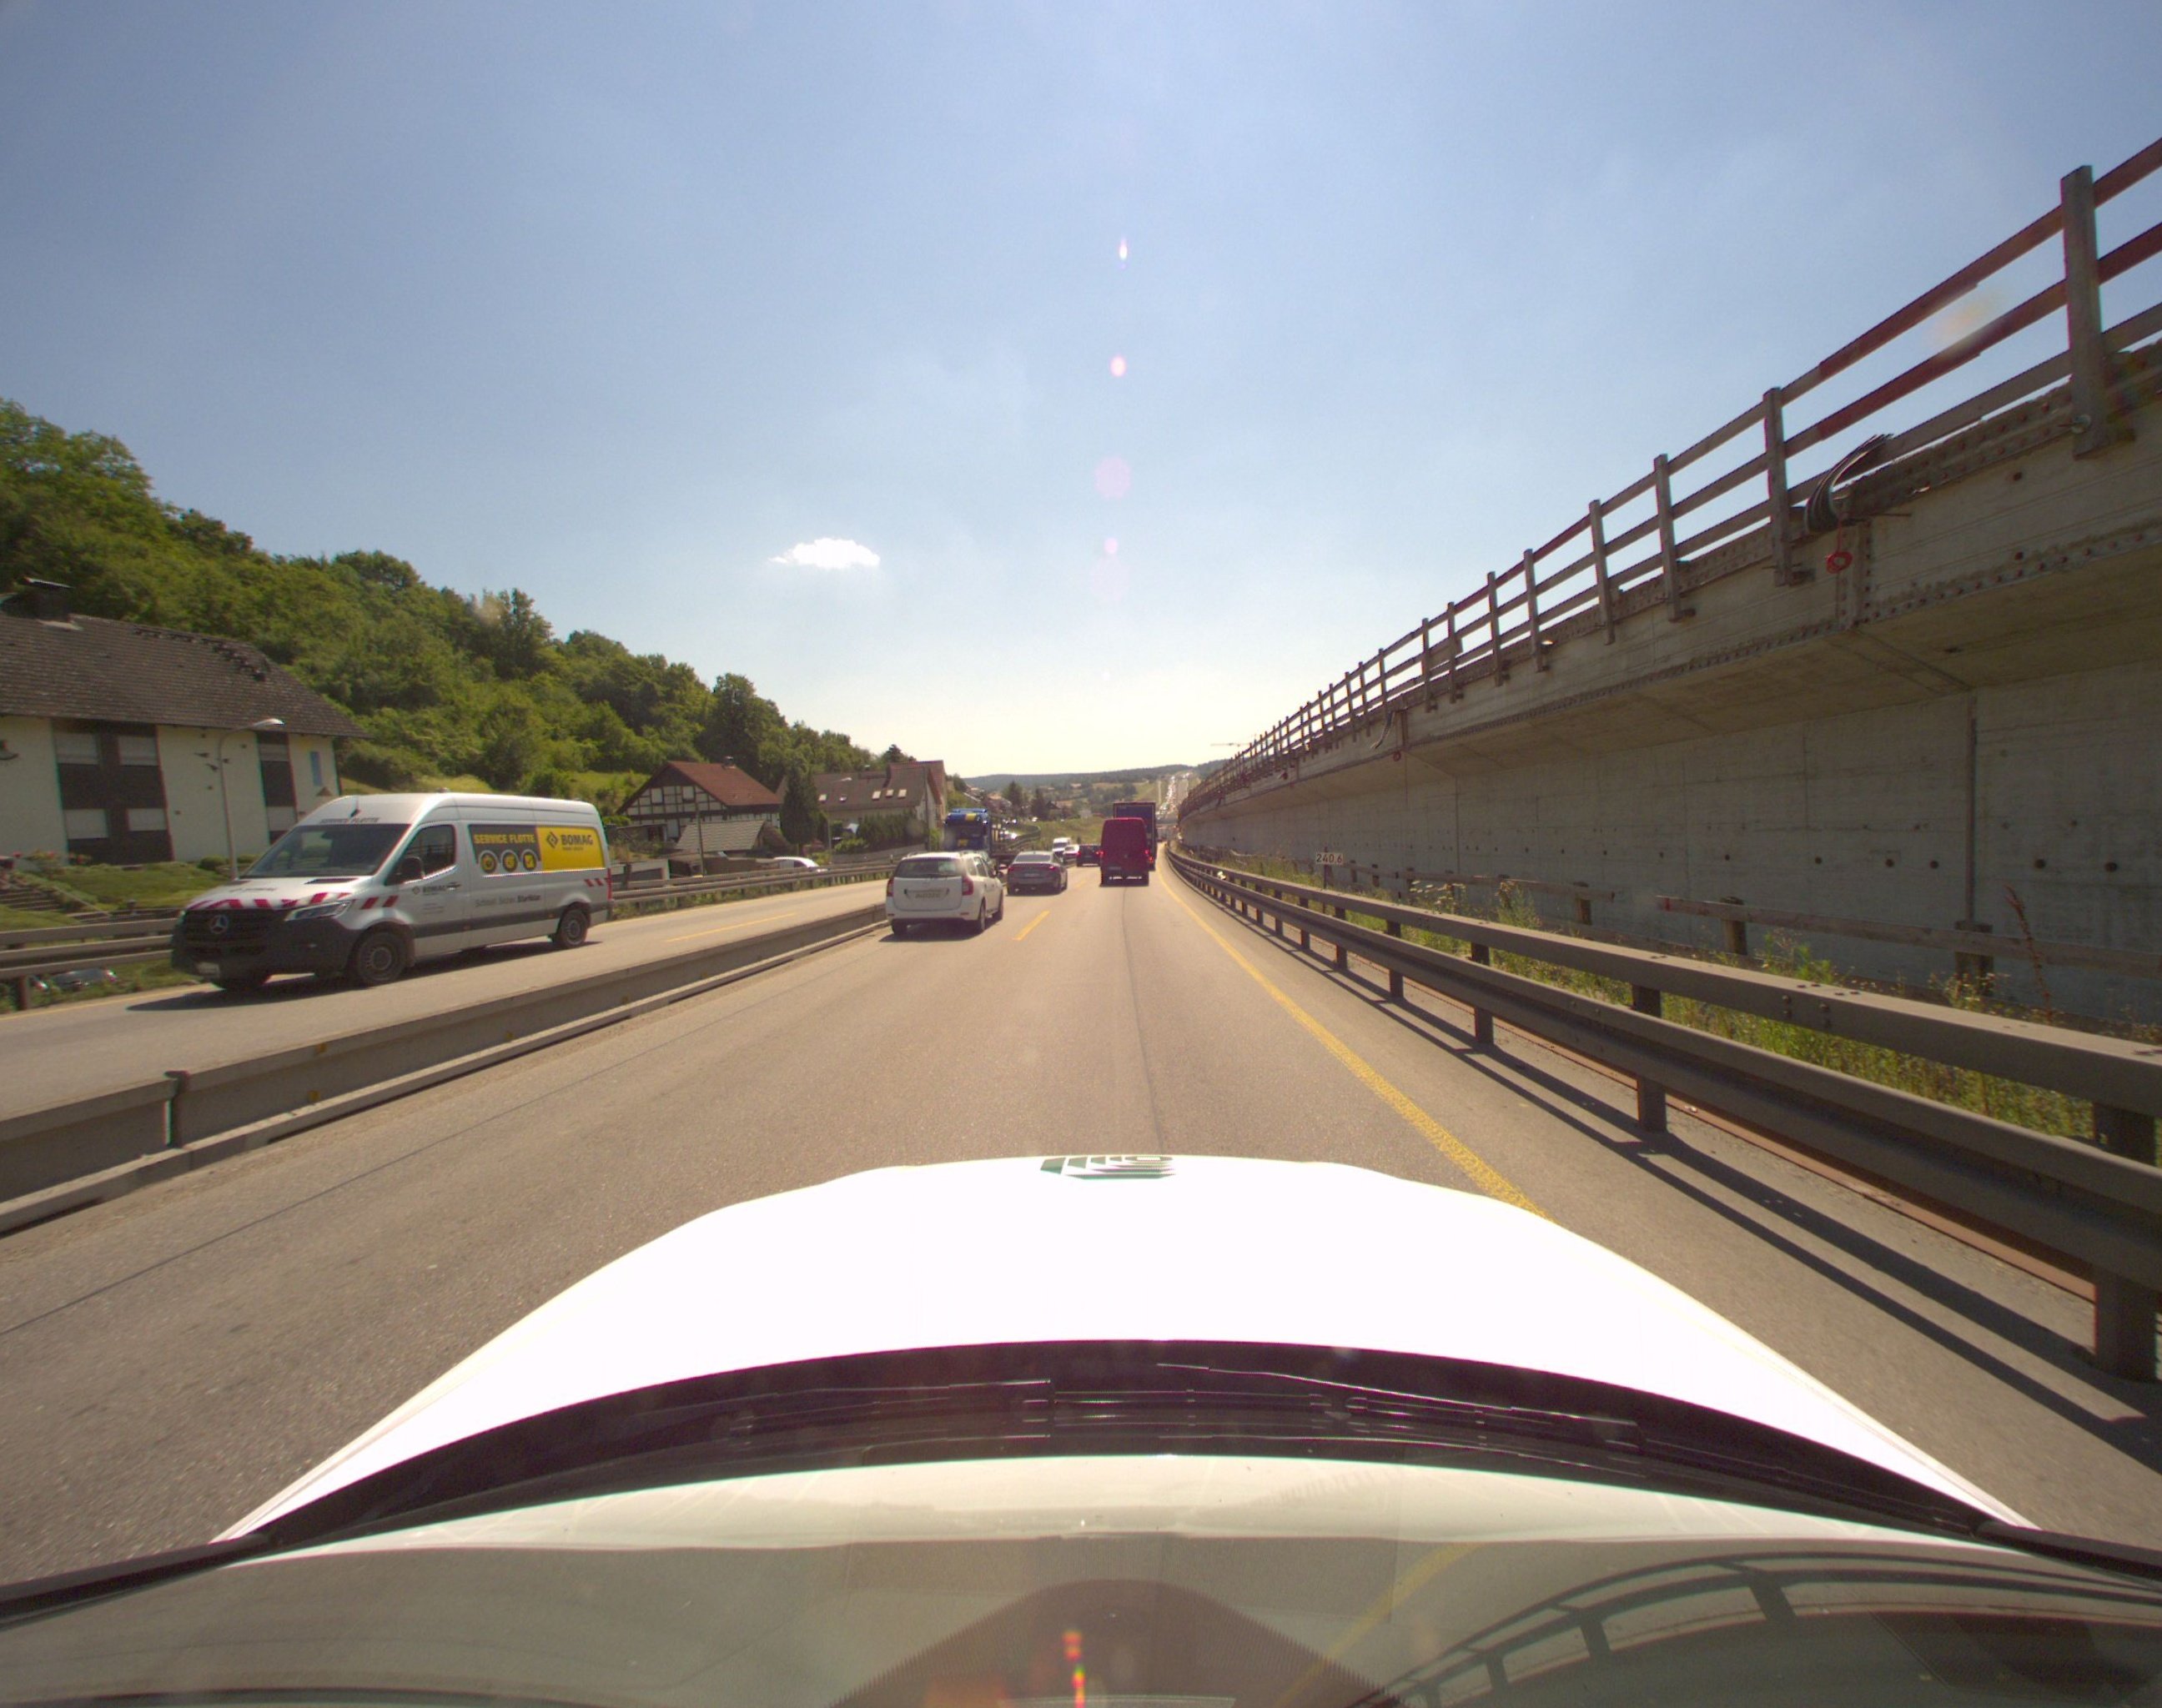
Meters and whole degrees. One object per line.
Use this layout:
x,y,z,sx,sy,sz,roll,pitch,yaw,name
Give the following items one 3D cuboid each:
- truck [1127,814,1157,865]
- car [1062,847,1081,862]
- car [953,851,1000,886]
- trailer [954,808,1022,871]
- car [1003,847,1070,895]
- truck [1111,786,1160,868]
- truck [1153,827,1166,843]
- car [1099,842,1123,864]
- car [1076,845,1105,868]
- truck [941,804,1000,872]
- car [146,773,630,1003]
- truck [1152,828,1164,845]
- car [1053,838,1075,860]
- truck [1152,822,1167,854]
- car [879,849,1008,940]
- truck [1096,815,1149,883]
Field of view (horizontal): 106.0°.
6.230,-1.326,83.660,2.774,4.816,9.693,-2,-1,3,truck
-0.939,0.020,81.768,1.555,1.464,4.023,-2,0,4,car
-4.644,0.611,36.753,1.539,1.464,4.627,0,0,-1,car
-6.305,-0.889,57.328,2.497,3.965,11.412,-2,-1,4,trailer
-1.456,0.584,28.214,1.787,1.485,4.053,-2,-1,3,car
3.549,-1.510,53.530,2.774,4.816,9.693,-2,-1,3,truck
23.760,-5.799,246.693,3.449,4.381,8.572,-2,-1,7,truck
2.702,-0.100,73.480,1.720,1.838,4.009,-2,0,8,car
0.706,0.189,59.722,1.802,1.608,3.723,-2,-1,4,car
-6.793,-0.927,50.786,2.497,3.965,5.181,-1,-1,4,truck
-9.686,0.380,12.414,1.997,2.603,5.983,-2,0,2,car
21.428,-4.886,225.722,3.053,4.381,8.572,-2,-1,7,truck
-2.059,-0.525,99.926,1.983,2.507,5.525,-2,-1,6,car
11.279,-2.264,116.683,1.983,4.381,4.007,-2,-1,7,truck
-2.589,0.733,16.325,1.645,1.483,4.268,-4,-1,2,car
1.724,-0.157,33.712,1.985,2.579,4.002,-2,-1,3,truck
